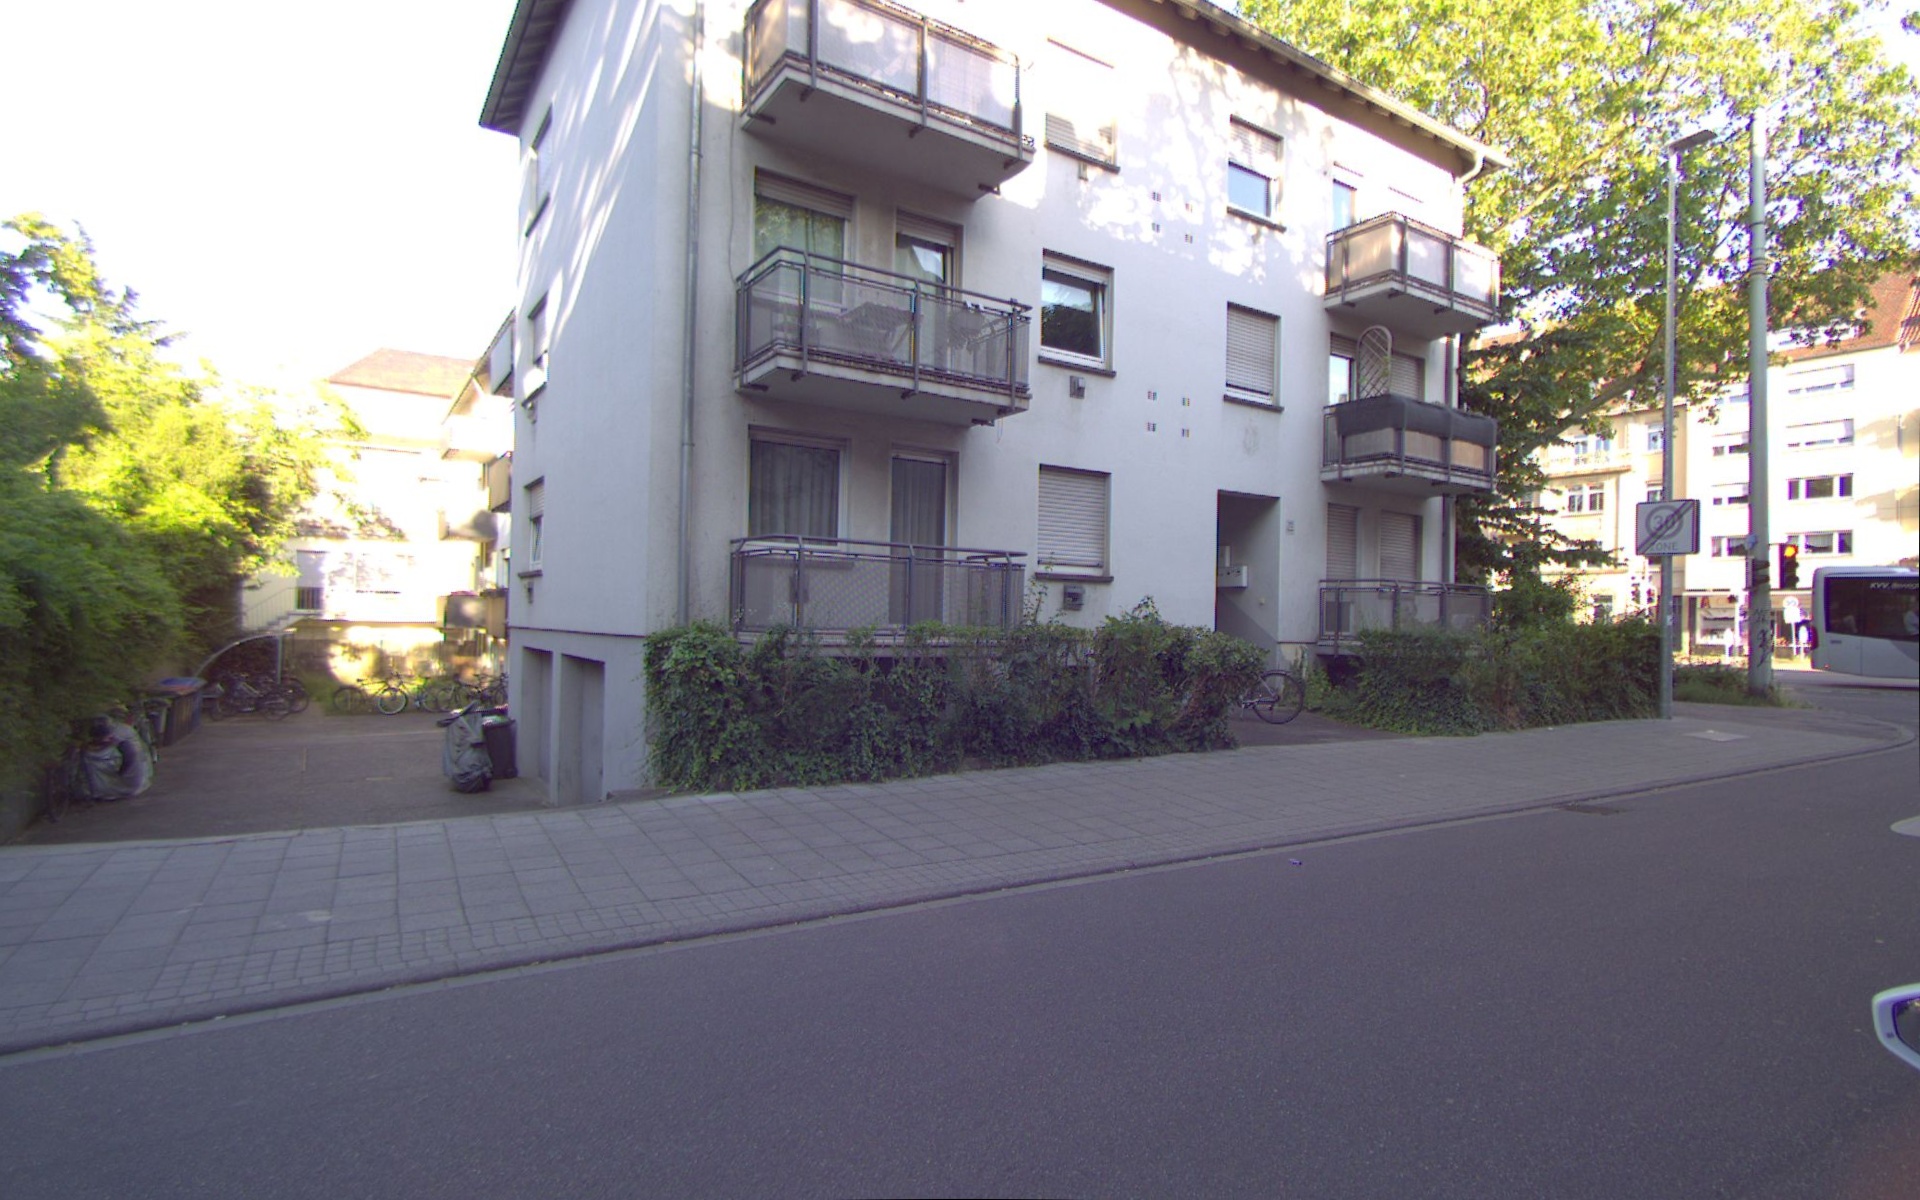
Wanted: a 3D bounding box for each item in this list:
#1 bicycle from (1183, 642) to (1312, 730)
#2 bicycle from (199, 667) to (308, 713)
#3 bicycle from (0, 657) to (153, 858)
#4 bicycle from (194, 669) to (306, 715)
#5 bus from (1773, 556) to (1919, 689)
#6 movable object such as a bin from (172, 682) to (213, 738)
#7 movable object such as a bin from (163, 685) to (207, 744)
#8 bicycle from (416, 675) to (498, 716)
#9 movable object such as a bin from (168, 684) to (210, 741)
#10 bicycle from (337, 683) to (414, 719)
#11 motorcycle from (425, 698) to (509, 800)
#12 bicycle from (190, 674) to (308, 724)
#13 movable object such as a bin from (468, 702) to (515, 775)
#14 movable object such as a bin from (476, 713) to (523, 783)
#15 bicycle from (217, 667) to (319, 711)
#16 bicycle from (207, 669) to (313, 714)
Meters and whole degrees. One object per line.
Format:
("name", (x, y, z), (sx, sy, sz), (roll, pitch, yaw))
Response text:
("bicycle", (3.884, 1.138, 13.572), (1.590, 1.022, 0.517), (3, 1, 20))
("bicycle", (-19.005, 2.404, 27.100), (2.311, 1.192, 0.689), (2, -4, -30))
("bicycle", (-10.579, 1.691, 11.990), (0.961, 1.917, 4.156), (1, -2, -32))
("bicycle", (-18.579, 2.399, 26.353), (2.311, 1.148, 0.689), (2, -4, -30))
("bus", (25.250, 0.550, 24.415), (2.885, 3.243, 8.116), (1, -1, -37))
("movable object such as a bin", (-16.341, 2.336, 21.395), (0.606, 1.129, 0.795), (1, -3, -33))
("movable object such as a bin", (-15.467, 2.272, 20.063), (0.606, 1.129, 0.795), (1, -3, -33))
("bicycle", (-13.891, 2.621, 27.755), (1.982, 1.085, 0.561), (2, -4, -30))
("movable object such as a bin", (-15.908, 2.305, 20.733), (0.606, 1.129, 0.795), (1, -3, -33))
("bicycle", (-15.545, 2.675, 26.755), (1.734, 0.890, 0.561), (2, -4, -30))
("motorcycle", (-7.382, 2.183, 15.018), (0.739, 1.313, 1.563), (2, -2, -41))
("bicycle", (-17.315, 2.396, 24.537), (2.268, 1.148, 0.689), (2, -4, -30))
("movable object such as a bin", (-7.895, 2.314, 16.915), (0.606, 1.129, 0.795), (1, -3, -33))
("movable object such as a bin", (-7.378, 2.359, 16.101), (0.606, 1.051, 0.534), (1, -3, -34))
("bicycle", (-19.622, 2.508, 28.550), (2.311, 1.192, 0.689), (2, -4, -30))
("bicycle", (-19.351, 2.524, 27.821), (2.311, 1.192, 0.689), (2, -4, -30))
